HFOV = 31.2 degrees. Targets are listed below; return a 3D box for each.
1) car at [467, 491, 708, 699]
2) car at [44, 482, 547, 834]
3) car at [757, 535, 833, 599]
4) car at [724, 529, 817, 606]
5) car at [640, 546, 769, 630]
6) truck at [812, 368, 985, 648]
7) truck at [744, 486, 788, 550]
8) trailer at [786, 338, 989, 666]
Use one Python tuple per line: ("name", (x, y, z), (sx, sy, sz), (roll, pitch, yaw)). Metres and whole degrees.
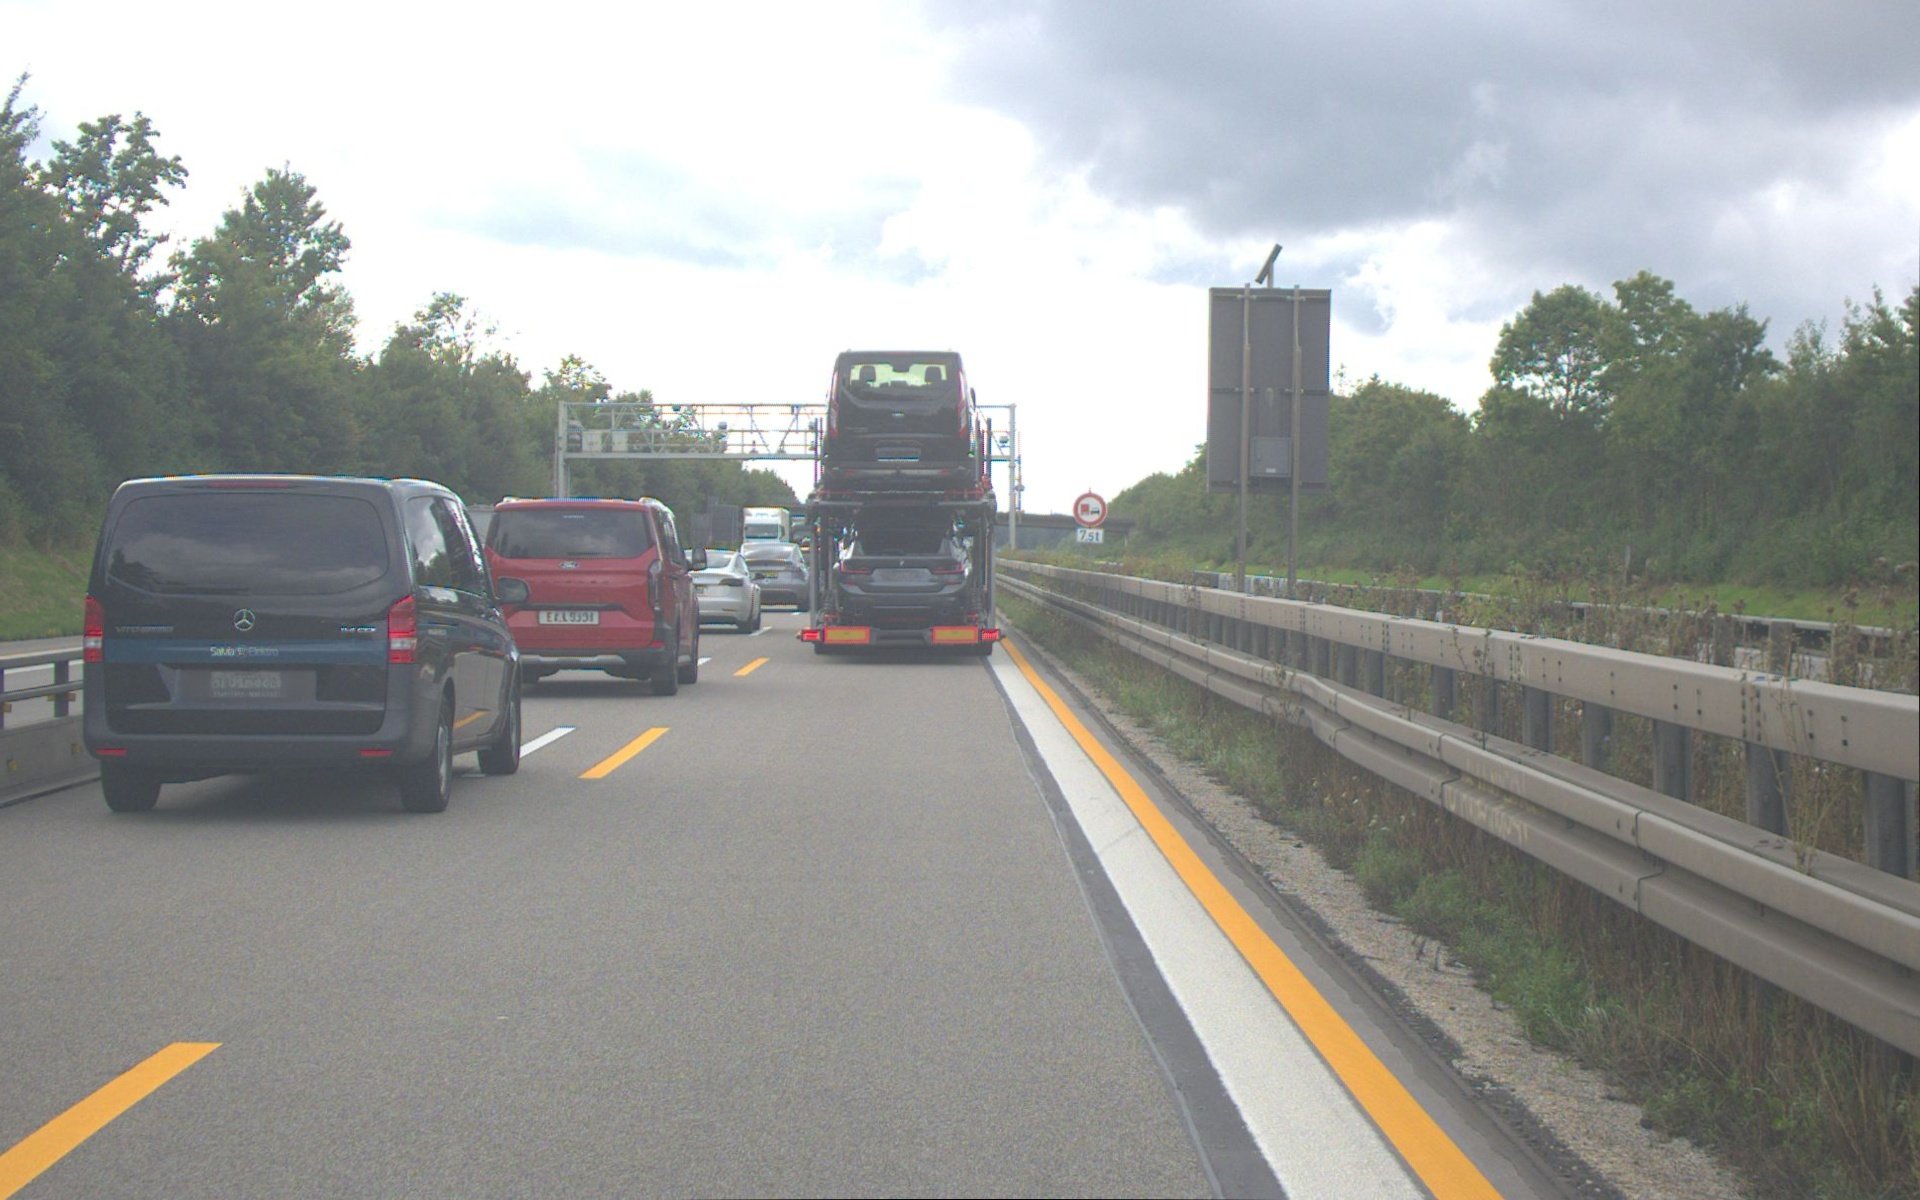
("car", (-3.773, -0.085, 35.549), (2.031, 2.007, 4.578), (0, 1, -1))
("car", (-3.812, 0.256, 20.786), (1.993, 1.836, 5.610), (0, 1, 0))
("car", (-4.621, -0.938, 96.763), (2.031, 1.751, 4.578), (0, 1, -1))
("car", (-4.406, -0.771, 80.461), (2.031, 1.751, 4.578), (0, 1, -1))
("car", (-4.456, -0.237, 60.606), (2.031, 1.426, 4.578), (0, 1, -1))
("truck", (-0.904, -1.396, 53.400), (2.515, 4.091, 5.685), (0, 1, 0))
("truck", (-12.749, -5.381, 226.109), (2.598, 4.140, 5.621), (1, 1, -1))
("trailer", (-0.898, -1.319, 48.655), (2.515, 4.091, 11.114), (0, 1, 0))
